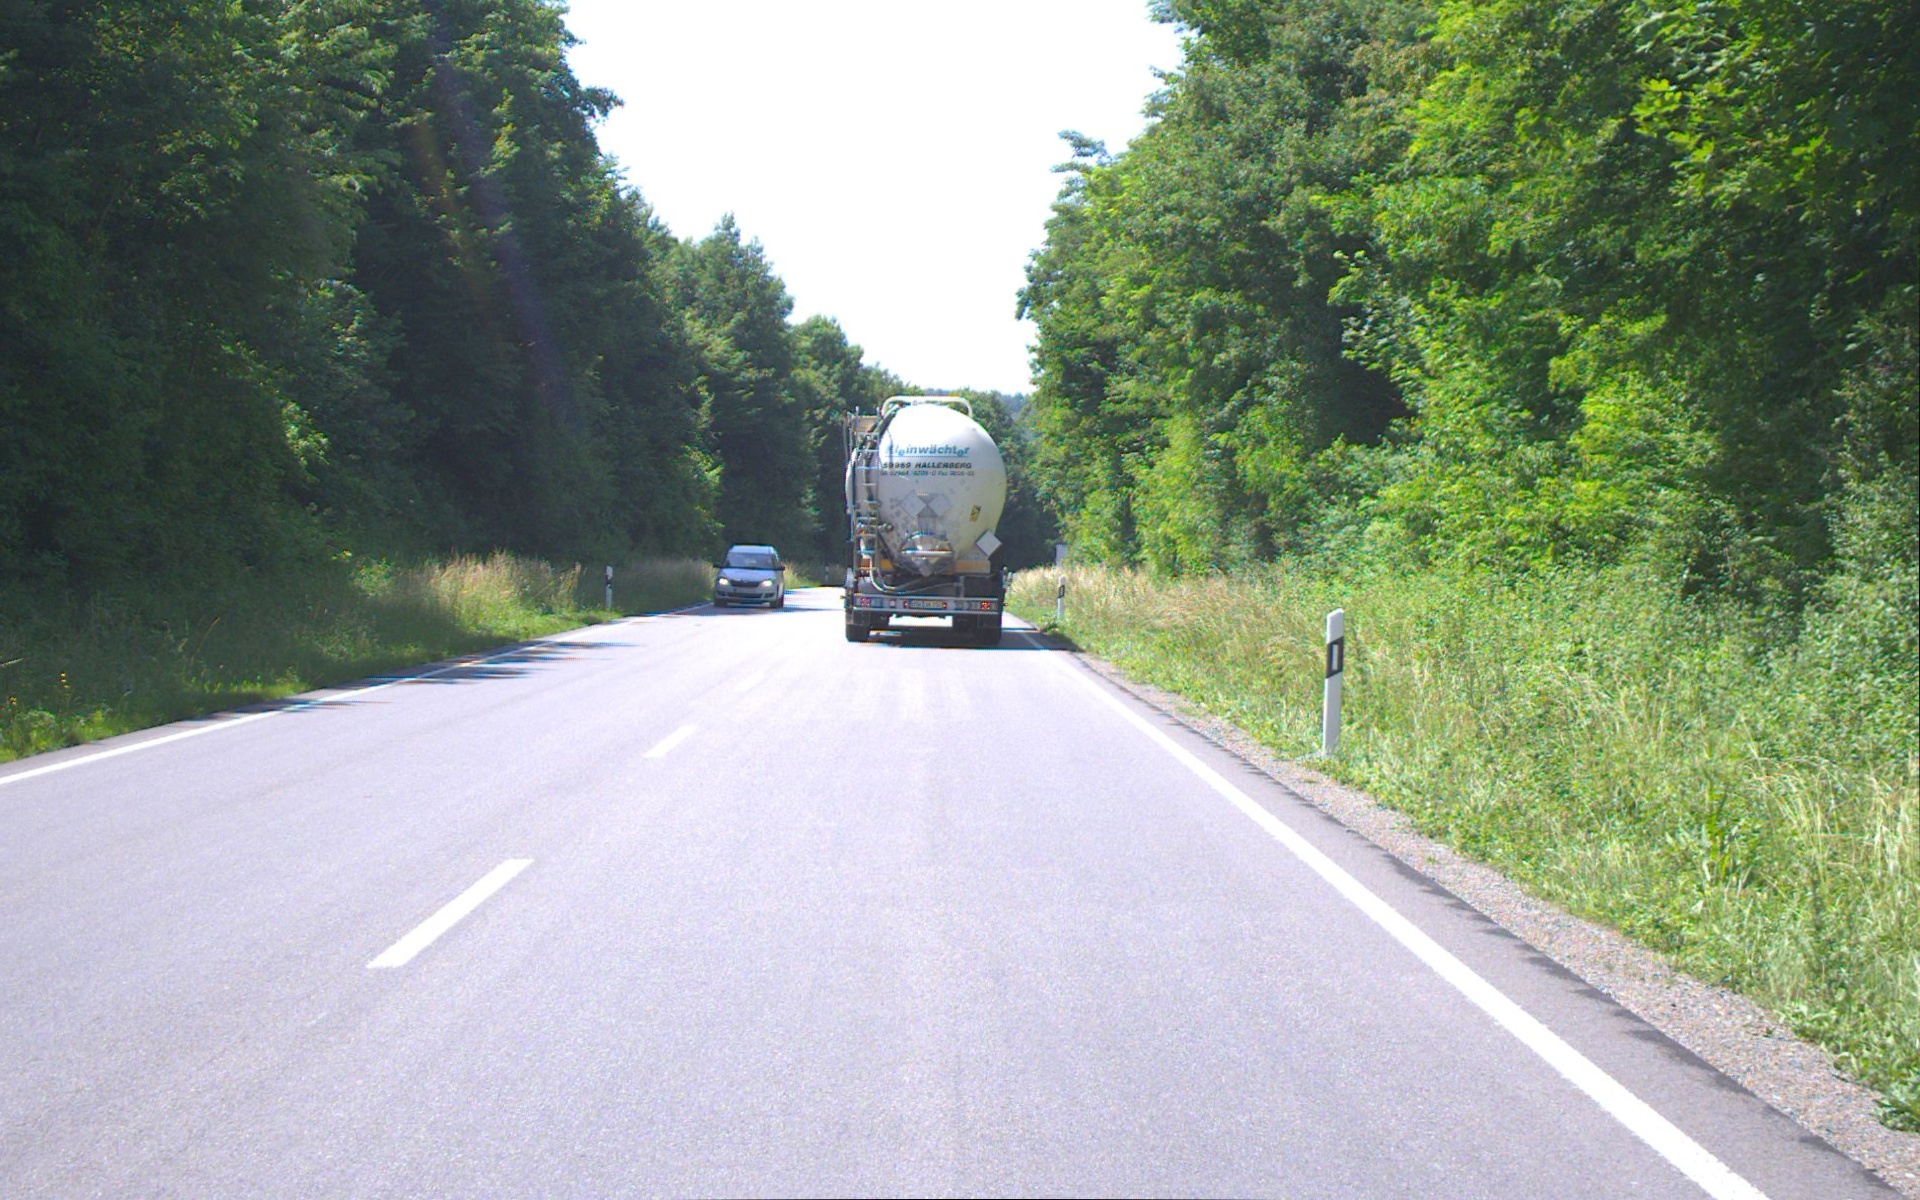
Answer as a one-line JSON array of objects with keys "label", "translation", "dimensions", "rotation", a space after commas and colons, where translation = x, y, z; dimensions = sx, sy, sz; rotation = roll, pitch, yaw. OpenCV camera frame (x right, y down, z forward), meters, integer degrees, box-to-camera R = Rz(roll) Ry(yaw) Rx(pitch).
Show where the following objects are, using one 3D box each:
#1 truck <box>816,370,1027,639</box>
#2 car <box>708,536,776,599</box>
[{"label": "truck", "translation": [-0.818, -1.550, 60.587], "dimensions": [3.049, 3.984, 15.638], "rotation": [3, 1, -2]}, {"label": "car", "translation": [-5.662, -0.859, 89.402], "dimensions": [1.512, 1.587, 3.793], "rotation": [0, 1, 0]}]
